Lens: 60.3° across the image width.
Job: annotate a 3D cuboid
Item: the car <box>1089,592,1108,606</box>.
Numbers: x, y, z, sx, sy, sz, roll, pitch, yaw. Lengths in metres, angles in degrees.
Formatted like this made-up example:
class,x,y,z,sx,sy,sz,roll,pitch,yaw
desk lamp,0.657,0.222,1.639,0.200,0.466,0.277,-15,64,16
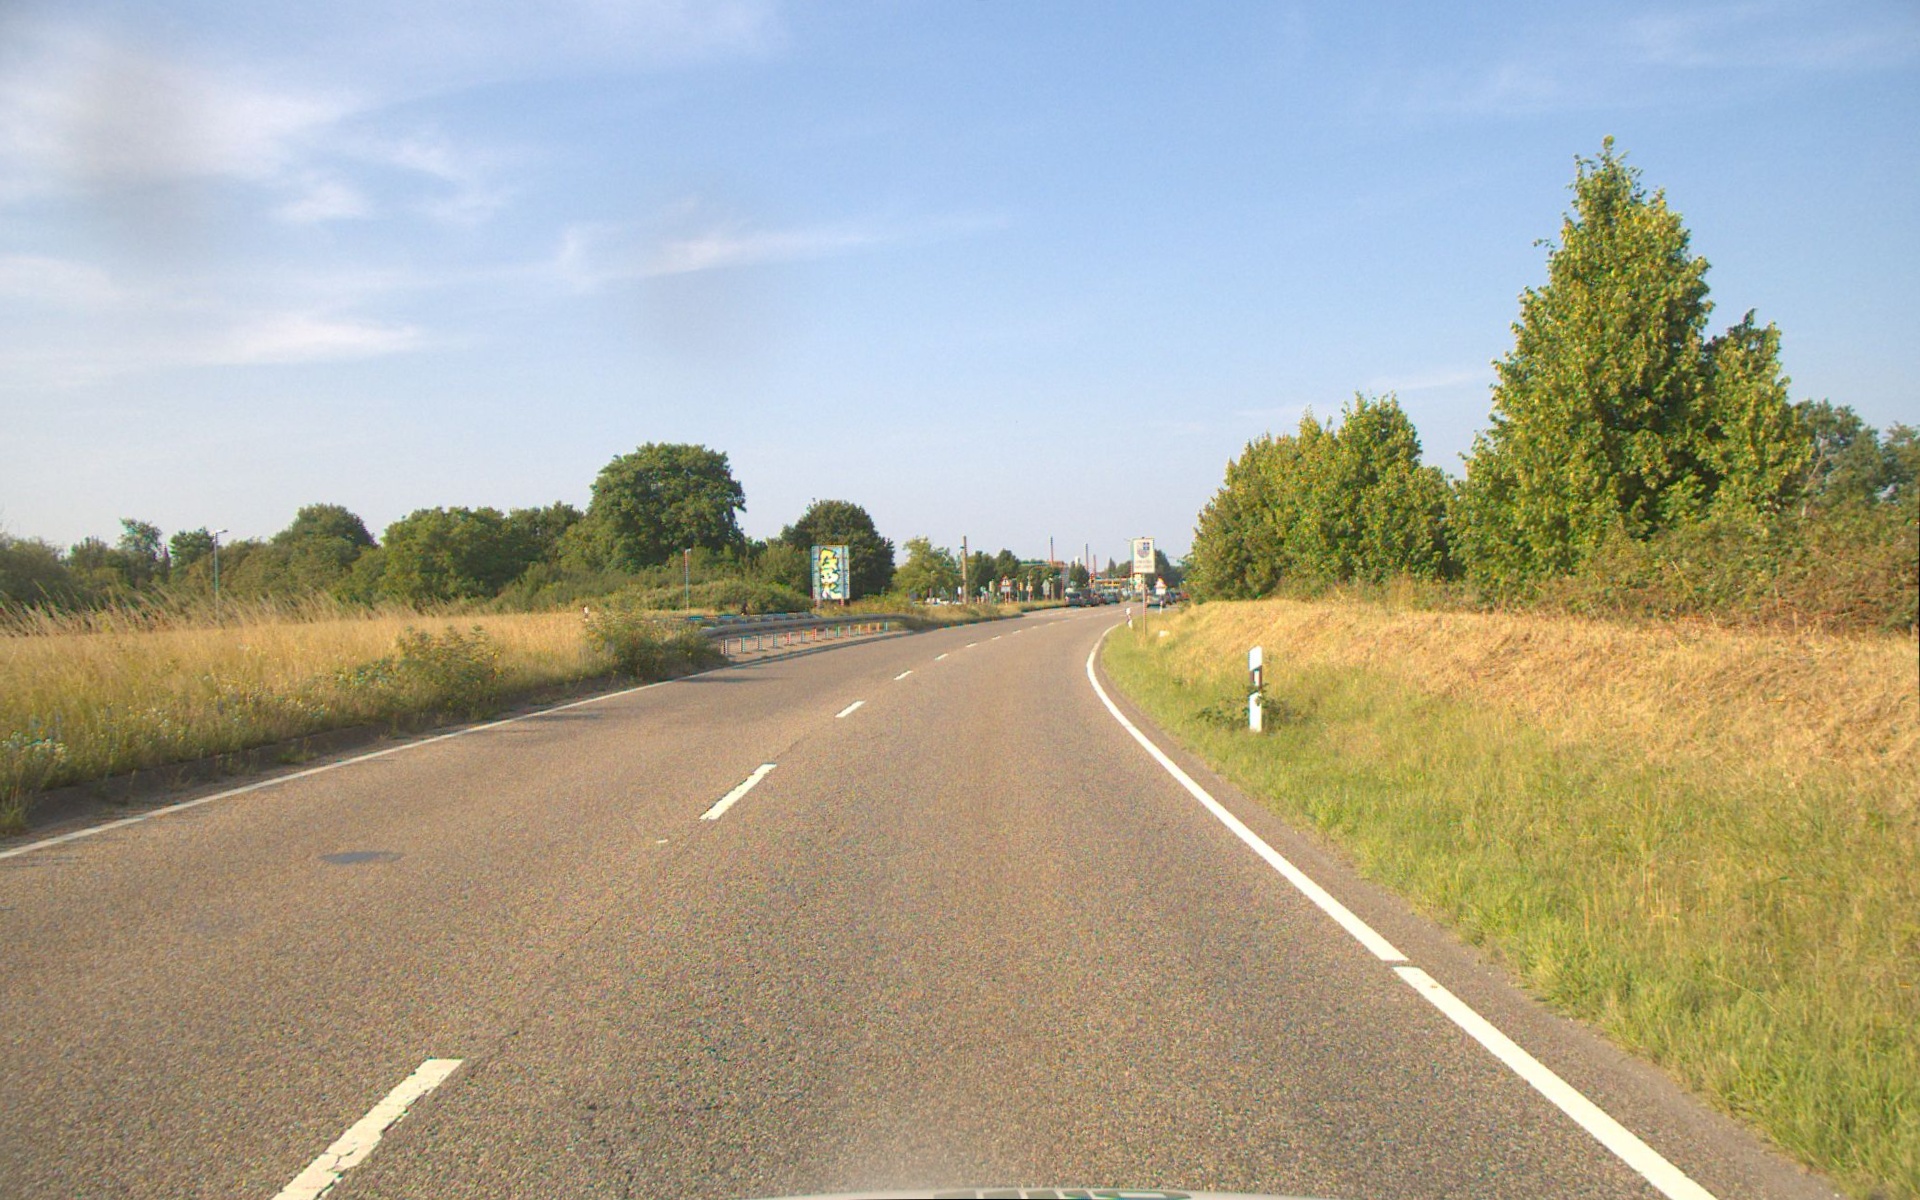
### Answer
class,x,y,z,sx,sy,sz,roll,pitch,yaw
car,15.406,-0.100,184.276,1.732,1.497,4.019,-1,0,10

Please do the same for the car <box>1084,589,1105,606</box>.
class,x,y,z,sx,sy,sz,roll,pitch,yaw
car,14.243,-0.261,174.846,1.732,1.708,4.524,-1,0,10

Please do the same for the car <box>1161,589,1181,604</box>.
class,x,y,z,sx,sy,sz,roll,pitch,yaw
car,23.039,-0.348,180.300,1.951,1.579,4.004,-1,0,10

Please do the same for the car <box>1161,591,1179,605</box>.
class,x,y,z,sx,sy,sz,roll,pitch,yaw
car,25.315,-0.239,199.585,1.951,1.579,4.004,-1,0,10

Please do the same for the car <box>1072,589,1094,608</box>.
class,x,y,z,sx,sy,sz,roll,pitch,yaw
car,12.424,-0.188,167.127,1.695,1.888,4.524,-1,0,10

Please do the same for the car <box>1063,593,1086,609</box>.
class,x,y,z,sx,sy,sz,roll,pitch,yaw
car,11.136,0.057,160.377,1.695,1.481,4.524,-1,0,10

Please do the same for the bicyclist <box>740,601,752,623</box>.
class,x,y,z,sx,sy,sz,roll,pitch,yaw
bicyclist,-14.094,0.767,108.788,0.457,1.414,1.048,-1,0,9

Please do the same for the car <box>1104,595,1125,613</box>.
class,x,y,z,sx,sy,sz,roll,pitch,yaw
car,18.834,0.459,201.945,1.951,2.049,4.840,-1,-2,12

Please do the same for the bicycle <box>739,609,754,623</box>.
class,x,y,z,sx,sy,sz,roll,pitch,yaw
bicycle,-14.059,1.023,108.798,0.518,0.893,1.706,-1,0,9

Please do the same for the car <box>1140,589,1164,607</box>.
class,x,y,z,sx,sy,sz,roll,pitch,yaw
car,18.209,-0.209,156.853,1.951,1.579,4.004,-1,0,10
